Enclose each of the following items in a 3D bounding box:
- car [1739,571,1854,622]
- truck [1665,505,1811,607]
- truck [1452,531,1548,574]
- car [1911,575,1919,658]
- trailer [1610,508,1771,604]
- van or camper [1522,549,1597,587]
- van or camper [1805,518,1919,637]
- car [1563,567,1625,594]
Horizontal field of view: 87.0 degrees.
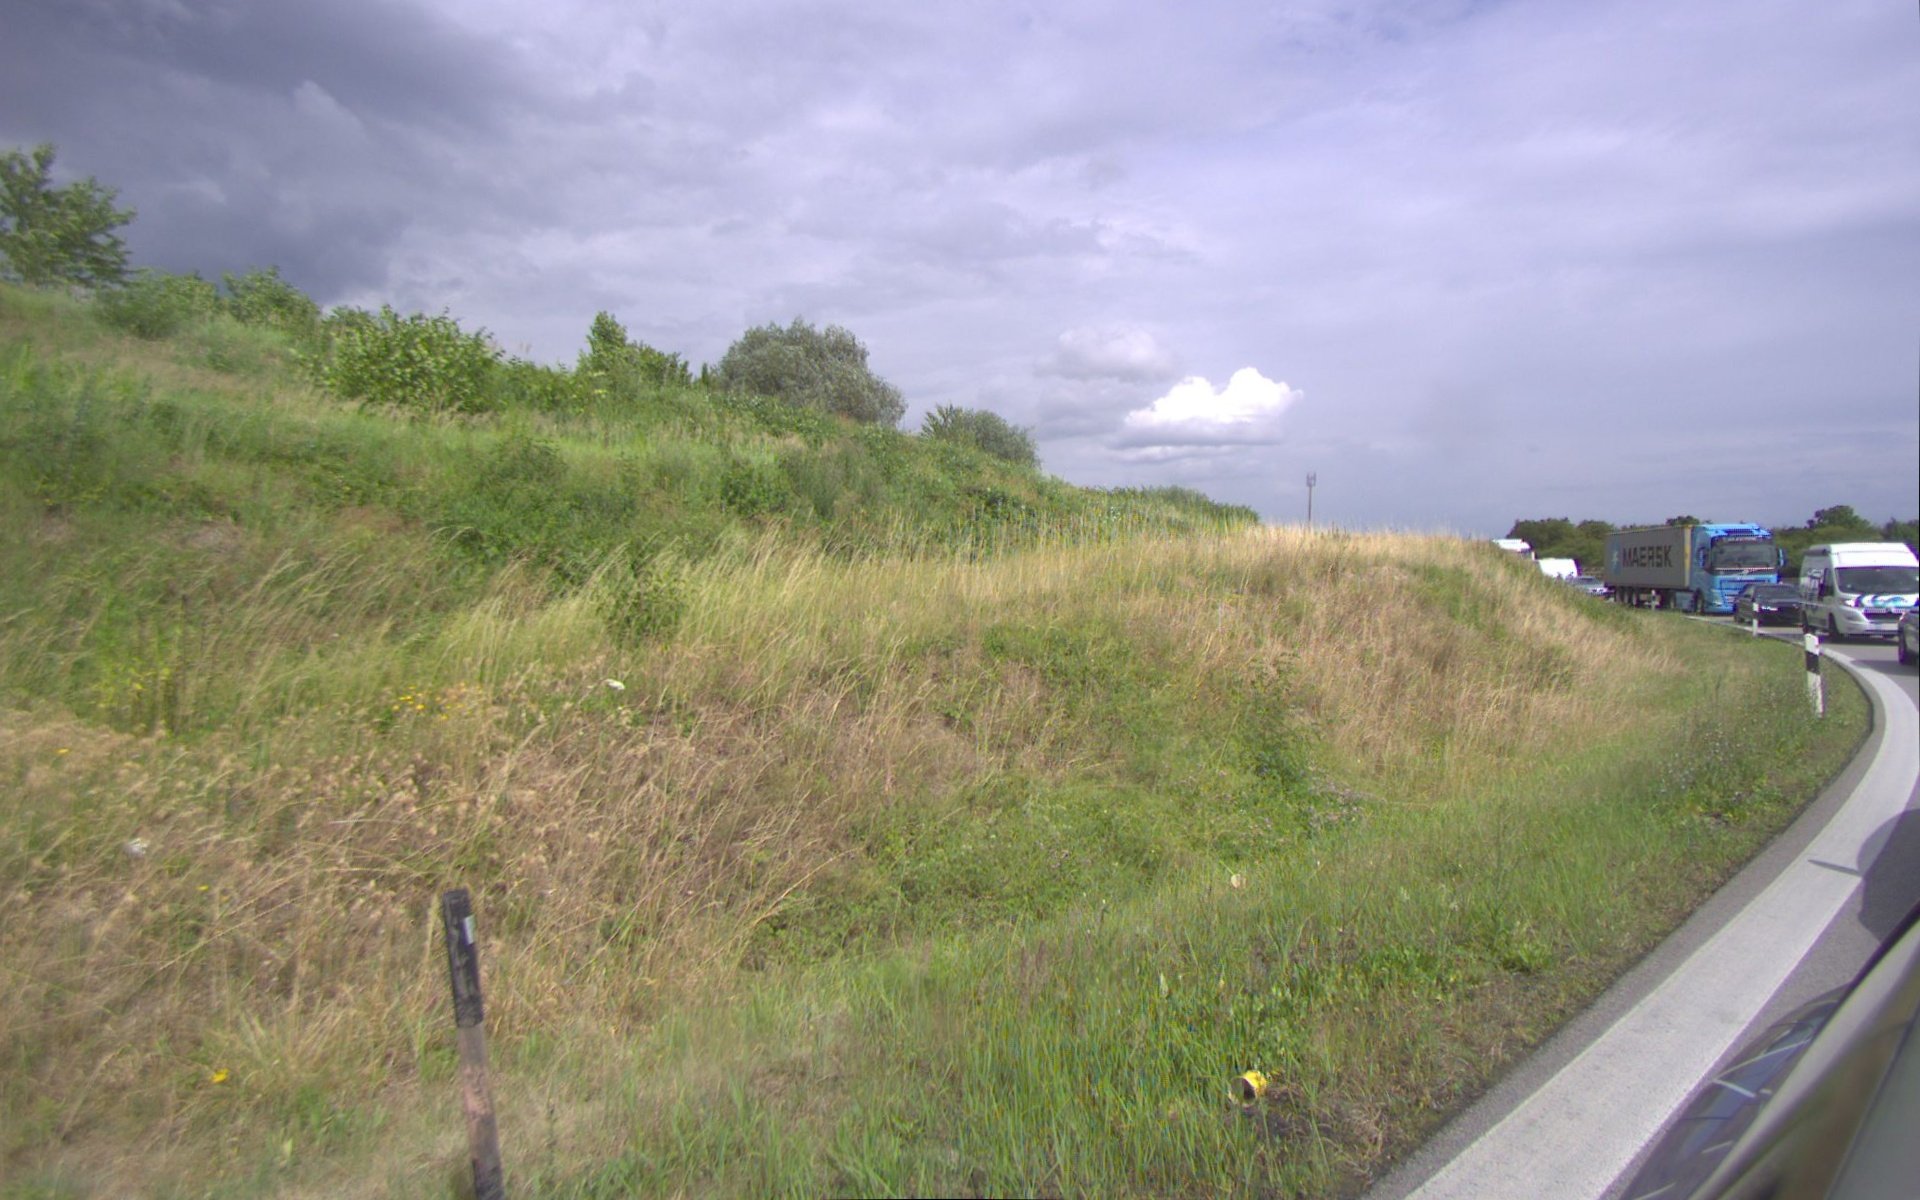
[{"bbox_3d":[29.355,-0.189,35.651,1.977,1.638,3.971,1,2,22],"label":"car"},{"bbox_3d":[34.151,-1.839,44.746,3.140,4.124,6.605,-1,1,19],"label":"truck"},{"bbox_3d":[43.670,-3.765,82.315,3.072,3.279,11.140,0,2,7],"label":"truck"},{"bbox_3d":[18.706,0.365,18.189,1.833,1.615,4.119,1,2,37],"label":"car"},{"bbox_3d":[36.354,-2.059,51.051,3.234,4.213,11.943,-1,1,19],"label":"trailer"},{"bbox_3d":[40.501,-2.191,68.552,2.512,2.237,5.699,-1,4,10],"label":"van or camper"},{"bbox_3d":[24.965,-0.606,27.591,2.383,2.945,5.651,0,1,34],"label":"van or camper"},{"bbox_3d":[39.152,-1.228,62.591,1.969,1.548,3.987,0,3,12],"label":"car"}]
